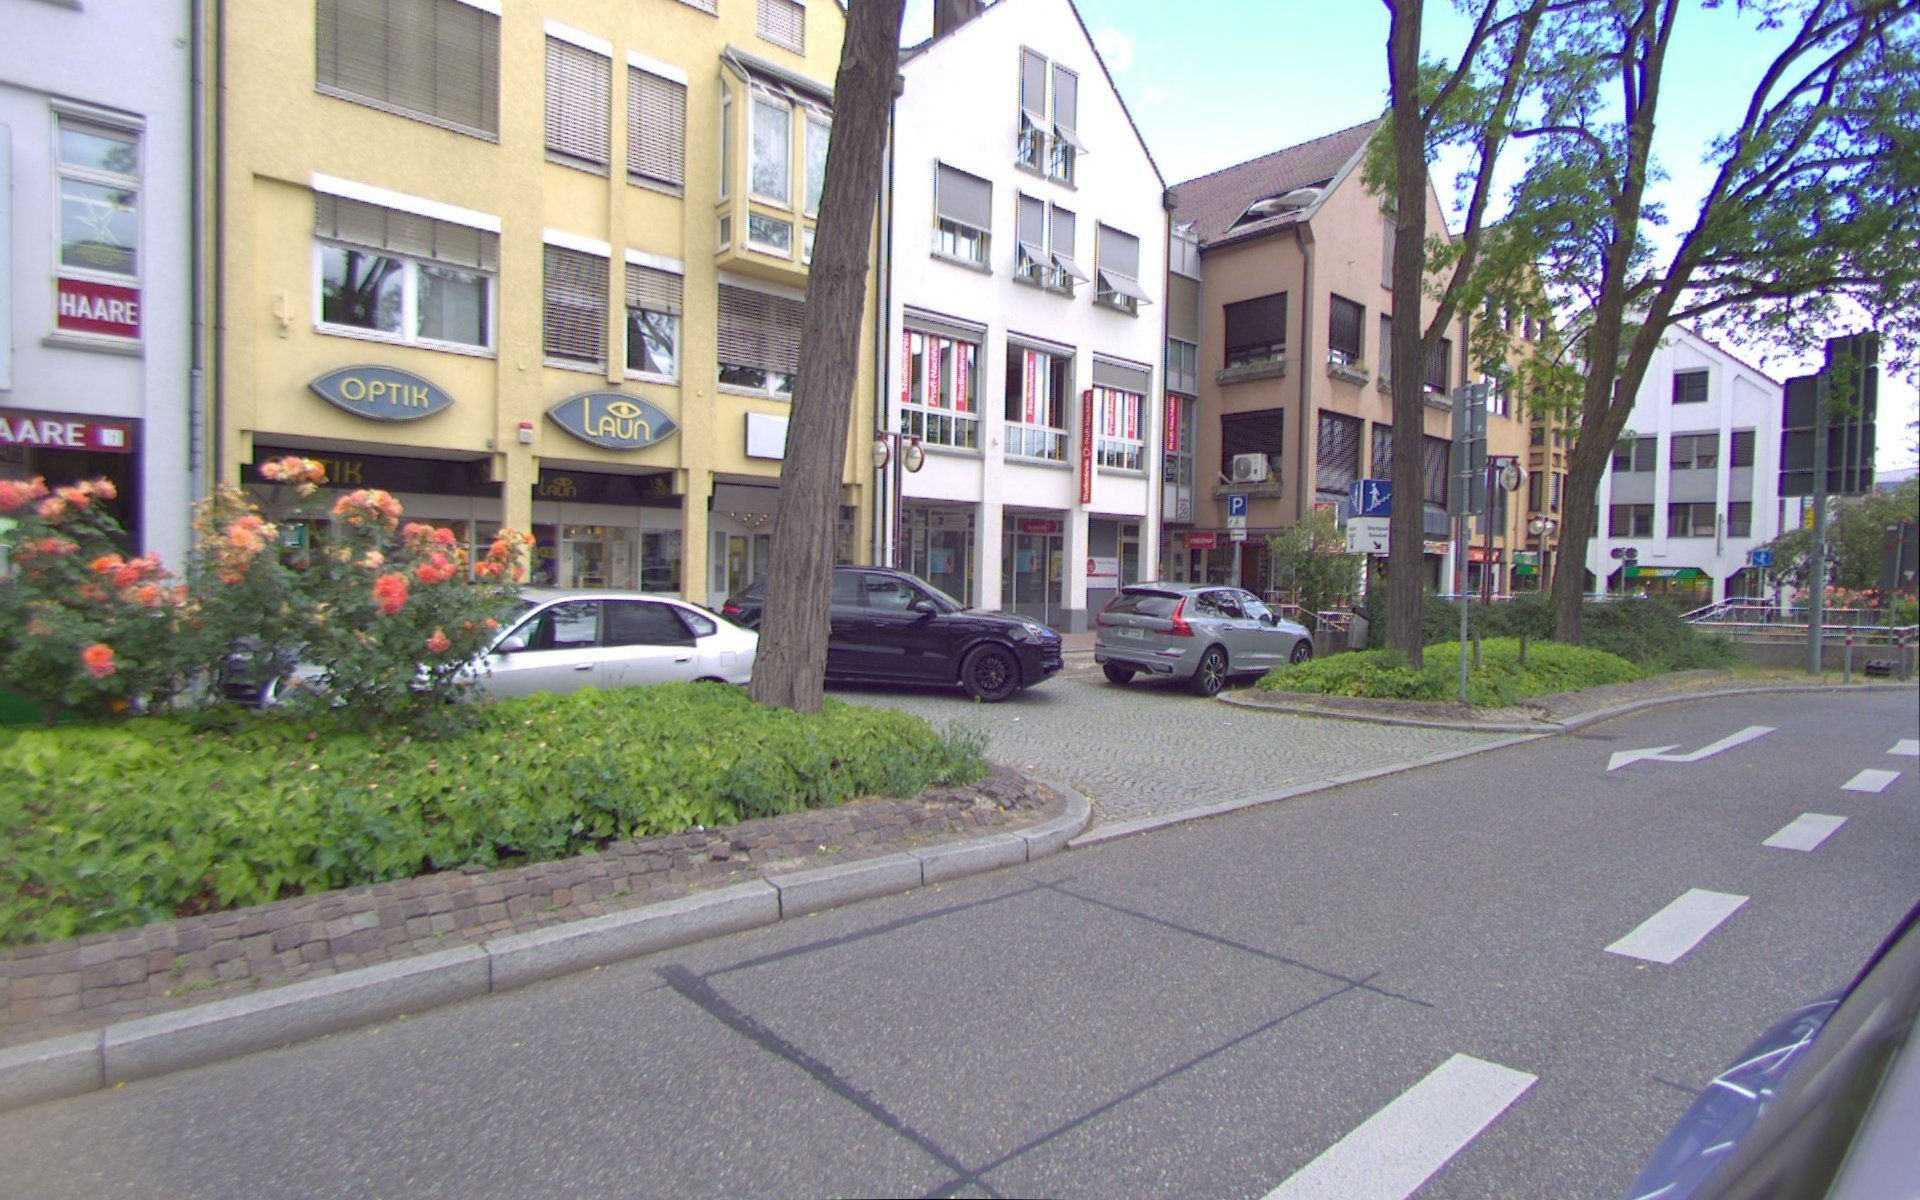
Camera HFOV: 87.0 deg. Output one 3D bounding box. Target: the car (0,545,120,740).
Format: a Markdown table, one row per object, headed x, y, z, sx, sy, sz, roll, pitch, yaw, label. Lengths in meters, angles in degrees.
| x | y | z | sx | sy | sz | roll | pitch | yaw | label |
| --- | --- | --- | --- | --- | --- | --- | --- | --- | --- |
| -9.433 | 0.316 | 7.922 | 4.320 | 1.561 | 1.799 | 0 | 3 | -43 | car |

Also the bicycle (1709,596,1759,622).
| x | y | z | sx | sy | sz | roll | pitch | yaw | label |
| --- | --- | --- | --- | --- | --- | --- | --- | --- | --- |
| 31.555 | 0.357 | 41.272 | 1.583 | 0.981 | 0.455 | 2 | 1 | 36 | bicycle |

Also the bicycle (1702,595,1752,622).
| x | y | z | sx | sy | sz | roll | pitch | yaw | label |
| --- | --- | --- | --- | --- | --- | --- | --- | --- | --- |
| 30.846 | 0.343 | 40.733 | 1.584 | 1.014 | 0.409 | 2 | 1 | 37 | bicycle |

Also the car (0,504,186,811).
| x | y | z | sx | sy | sz | roll | pitch | yaw | label |
| --- | --- | --- | --- | --- | --- | --- | --- | --- | --- |
| -7.552 | 0.309 | 6.030 | 4.528 | 1.899 | 1.883 | 0 | 3 | -43 | car |

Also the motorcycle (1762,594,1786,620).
| x | y | z | sx | sy | sz | roll | pitch | yaw | label |
| --- | --- | --- | --- | --- | --- | --- | --- | --- | --- |
| 35.273 | 0.287 | 43.834 | 1.961 | 1.081 | 0.464 | 0 | 1 | -41 | motorcycle |

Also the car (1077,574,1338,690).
| x | y | z | sx | sy | sz | roll | pitch | yaw | label |
| --- | --- | --- | --- | --- | --- | --- | --- | --- | --- |
| 4.205 | 0.434 | 16.731 | 4.685 | 1.615 | 1.995 | 0 | 2 | -44 | car |

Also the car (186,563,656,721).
| x | y | z | sx | sy | sz | roll | pitch | yaw | label |
| --- | --- | --- | --- | --- | --- | --- | --- | --- | --- |
| -5.938 | 0.352 | 11.469 | 4.344 | 1.393 | 2.000 | 0 | 3 | -43 | car |

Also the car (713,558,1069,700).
| x | y | z | sx | sy | sz | roll | pitch | yaw | label |
| --- | --- | --- | --- | --- | --- | --- | --- | --- | --- |
| -0.906 | 0.337 | 14.080 | 4.575 | 1.690 | 1.859 | 2 | 2 | 0 | car |

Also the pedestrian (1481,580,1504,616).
| x | y | z | sx | sy | sz | roll | pitch | yaw | label |
| --- | --- | --- | --- | --- | --- | --- | --- | --- | --- |
| 27.263 | -0.112 | 51.829 | 0.882 | 1.779 | 0.931 | 2 | 1 | 38 | pedestrian |

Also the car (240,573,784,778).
| x | y | z | sx | sy | sz | roll | pitch | yaw | label |
| --- | --- | --- | --- | --- | --- | --- | --- | --- | --- |
| -3.991 | 0.528 | 9.512 | 4.344 | 1.468 | 1.765 | 0 | 2 | -43 | car |

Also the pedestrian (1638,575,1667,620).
| x | y | z | sx | sy | sz | roll | pitch | yaw | label |
| --- | --- | --- | --- | --- | --- | --- | --- | --- | --- |
| 29.043 | -0.104 | 42.439 | 0.772 | 1.846 | 0.869 | 0 | 0 | -45 | pedestrian |
